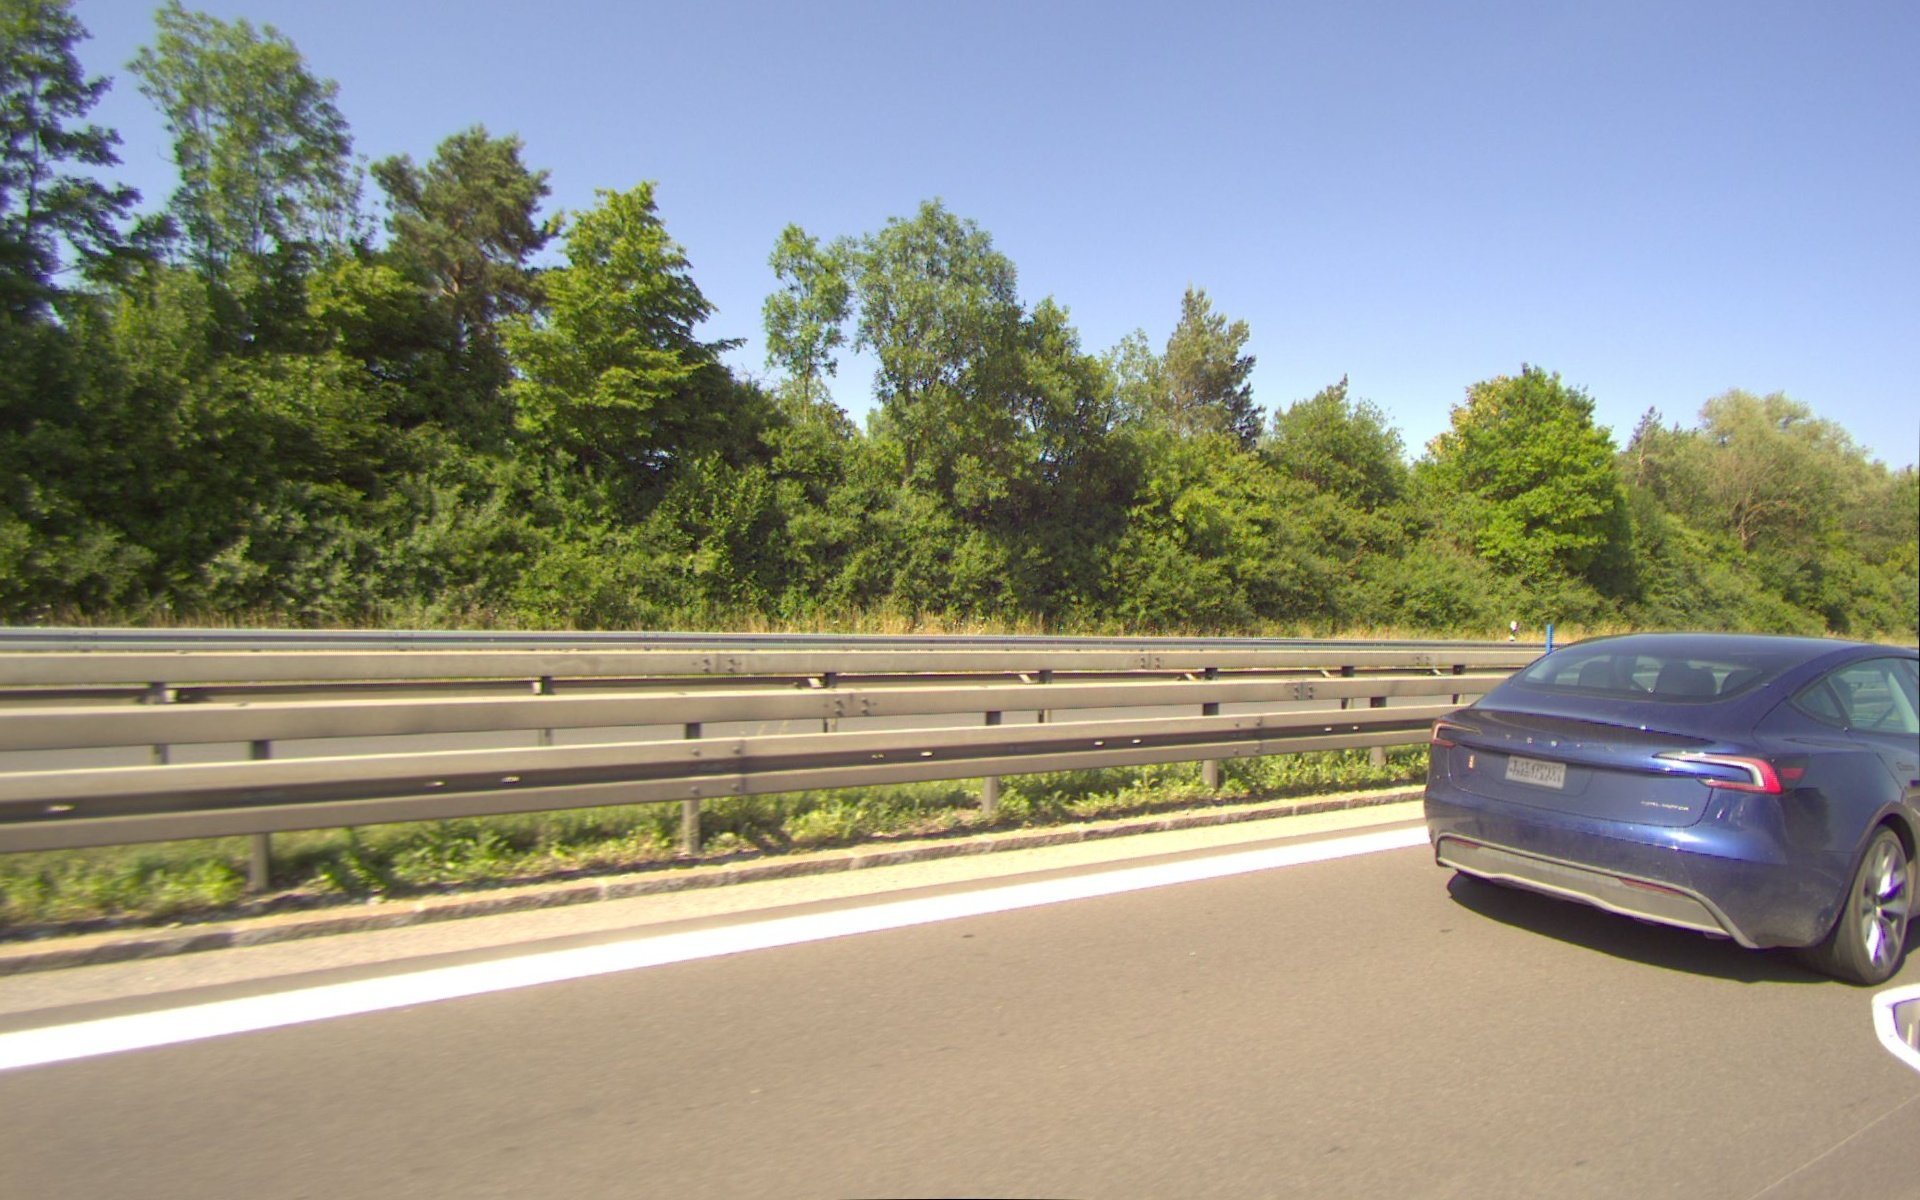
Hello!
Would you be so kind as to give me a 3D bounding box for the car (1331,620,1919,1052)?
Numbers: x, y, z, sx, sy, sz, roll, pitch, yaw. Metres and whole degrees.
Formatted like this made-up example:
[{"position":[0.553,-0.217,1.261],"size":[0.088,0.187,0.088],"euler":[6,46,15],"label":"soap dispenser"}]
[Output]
[{"position":[4.814,0.897,5.765],"size":[5.799,1.452,1.838],"euler":[2,-1,-31],"label":"car"}]
